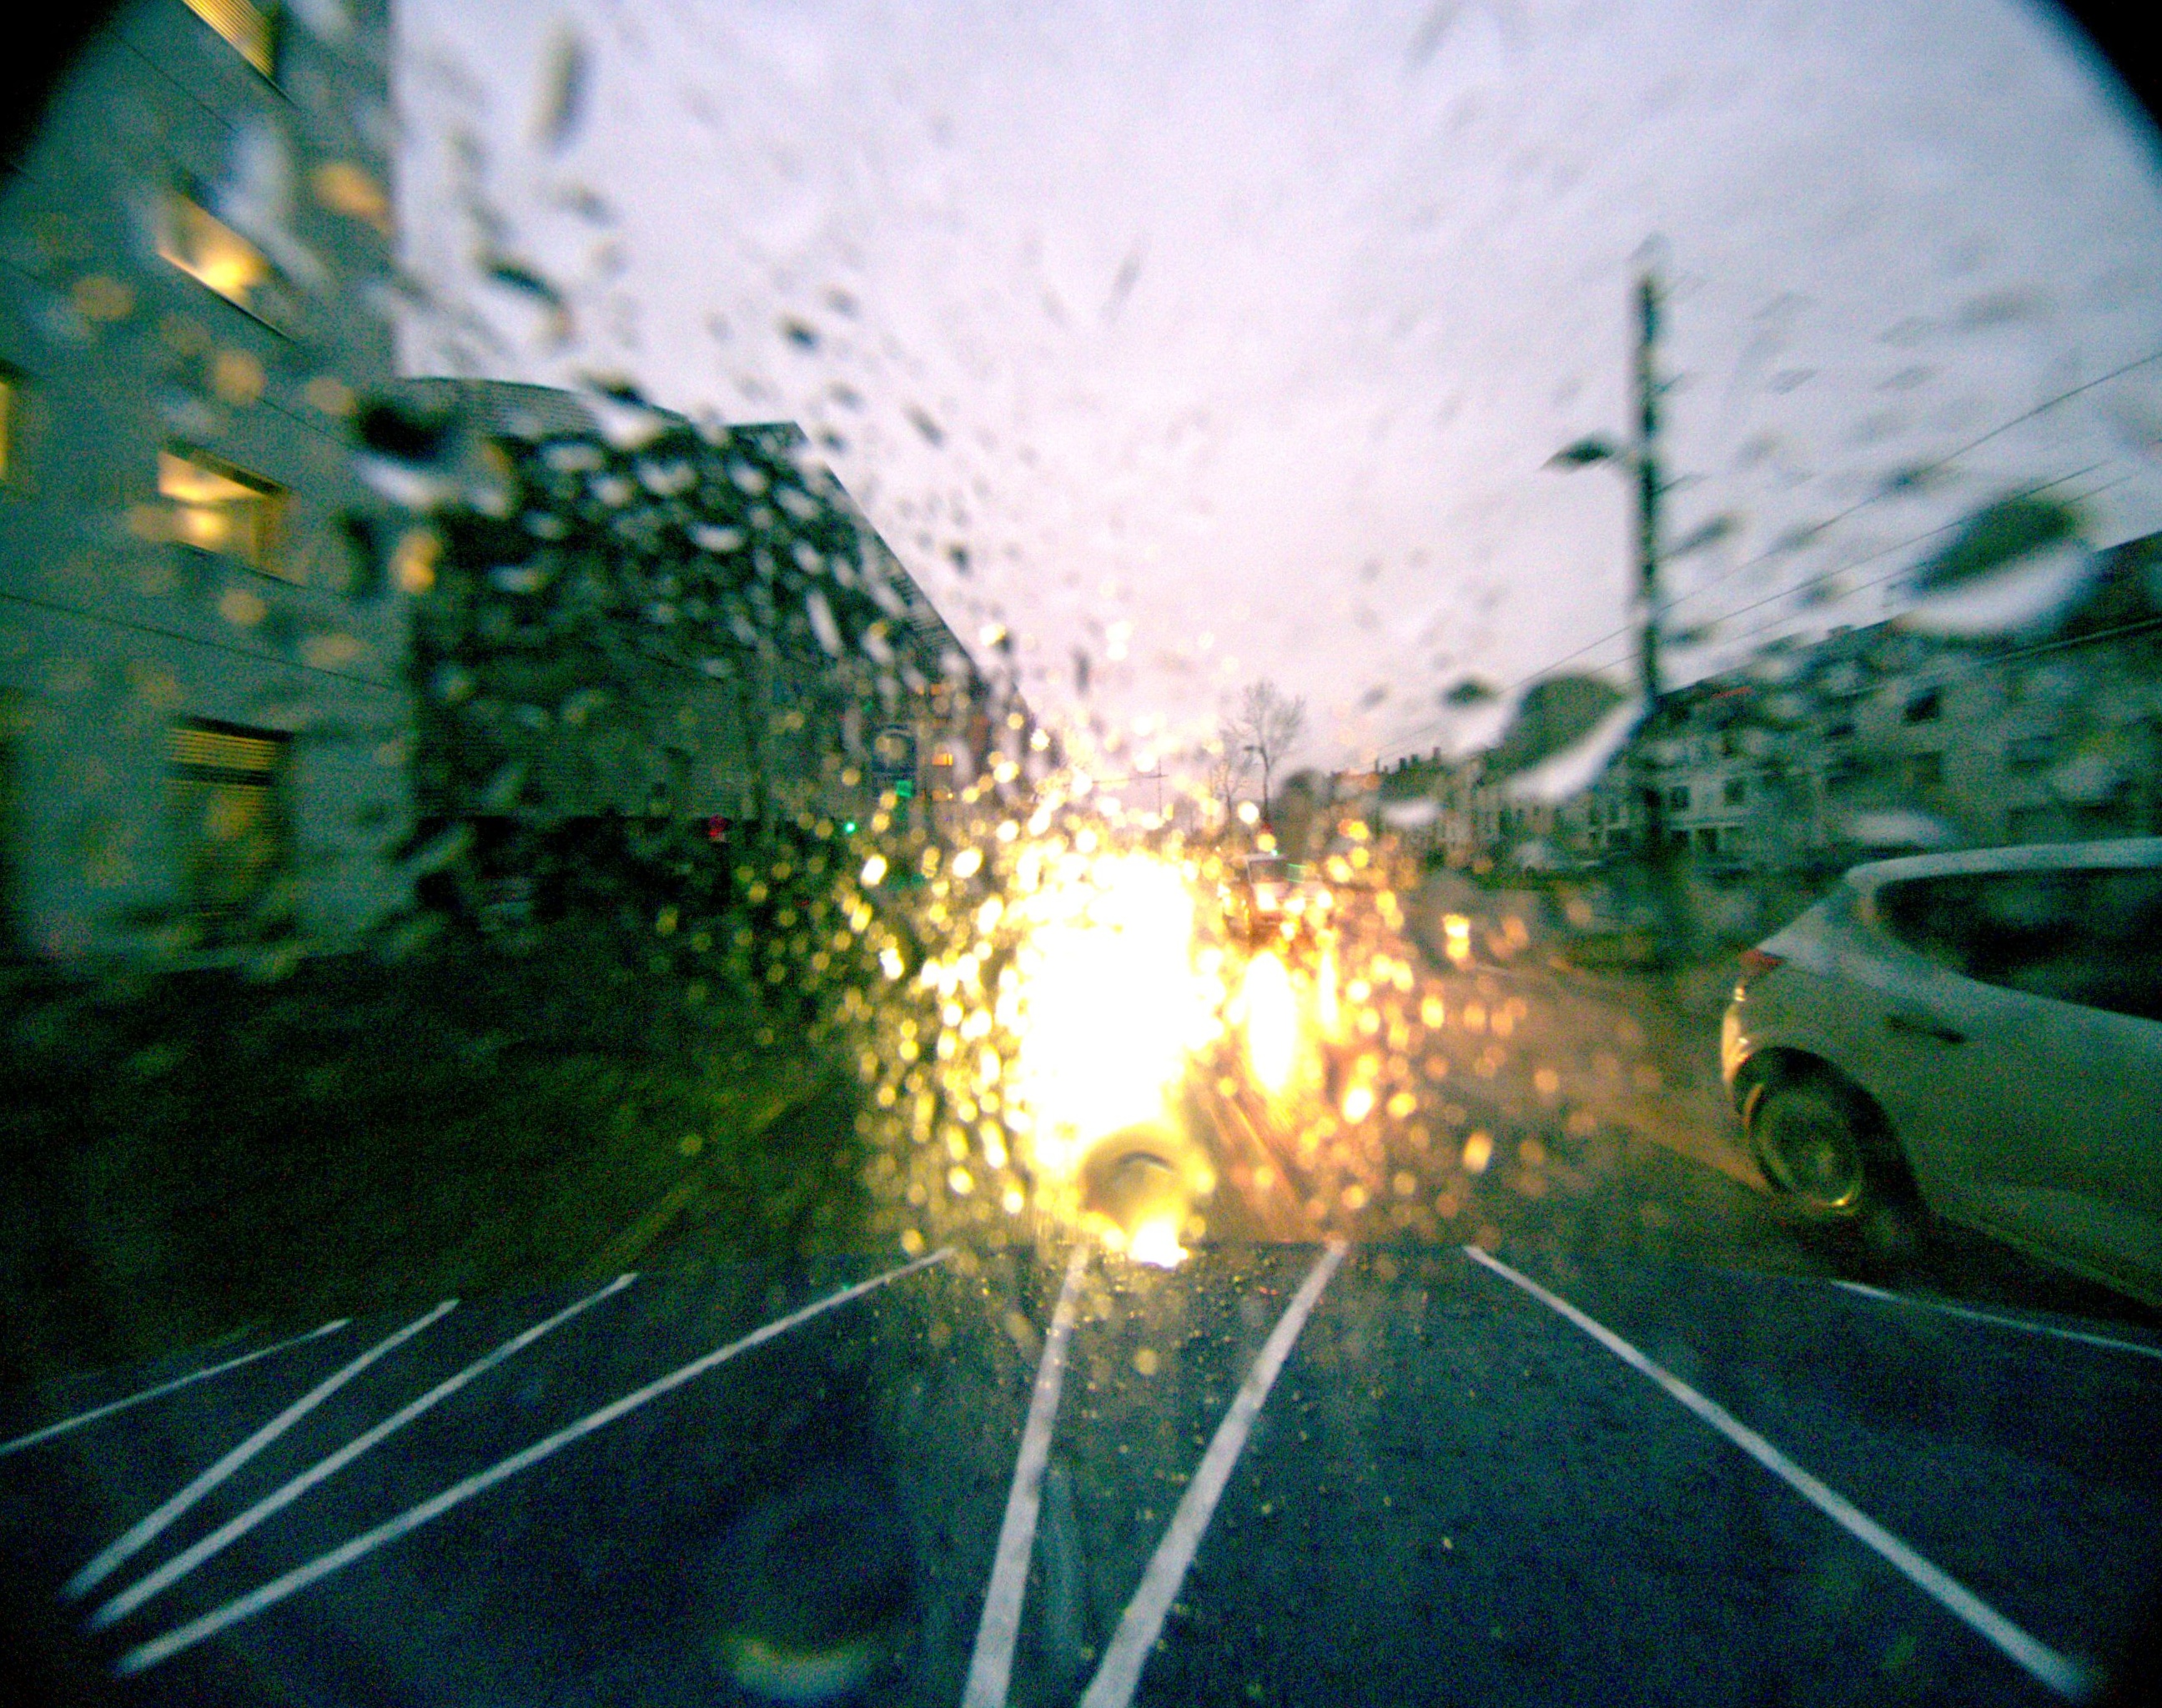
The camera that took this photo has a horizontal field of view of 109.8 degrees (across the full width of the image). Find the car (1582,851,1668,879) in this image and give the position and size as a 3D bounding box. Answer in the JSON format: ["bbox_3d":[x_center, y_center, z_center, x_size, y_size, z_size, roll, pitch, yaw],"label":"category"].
[{"bbox_3d":[31.804,0.639,44.469,4.002,1.496,1.316,-2,1,38],"label":"car"}]

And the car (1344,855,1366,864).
[{"bbox_3d":[36.995,0.750,102.633,2.626,1.100,1.255,-3,1,6],"label":"car"}]

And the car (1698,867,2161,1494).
[{"bbox_3d":[3.525,0.843,1.284,1.712,1.457,4.000,-3,1,1],"label":"car"}]

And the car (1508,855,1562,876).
[{"bbox_3d":[32.484,0.827,54.354,3.199,1.376,1.316,-2,-1,34],"label":"car"}]

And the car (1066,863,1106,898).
[{"bbox_3d":[0.294,1.273,37.966,1.763,1.520,3.735,-3,1,3],"label":"car"}]

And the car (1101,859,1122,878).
[{"bbox_3d":[2.465,1.153,61.563,1.595,1.428,3.805,-3,-1,2],"label":"car"}]

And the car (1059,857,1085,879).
[{"bbox_3d":[-0.693,1.118,61.733,1.609,1.666,3.686,-3,1,6],"label":"car"}]

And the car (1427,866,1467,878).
[{"bbox_3d":[33.736,1.680,70.018,3.100,1.000,1.189,-2,-1,37],"label":"car"}]

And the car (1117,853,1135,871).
[{"bbox_3d":[4.599,0.824,77.488,1.729,1.646,3.644,-3,1,2],"label":"car"}]

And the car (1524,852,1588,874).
[{"bbox_3d":[32.011,0.631,51.212,3.599,1.376,1.316,-2,-1,35],"label":"car"}]

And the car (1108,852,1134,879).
[{"bbox_3d":[2.864,0.810,53.673,1.729,1.730,4.055,-2,1,4],"label":"car"}]

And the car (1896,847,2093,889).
[{"bbox_3d":[30.536,0.481,25.594,3.989,1.248,1.447,-2,1,36],"label":"car"}]

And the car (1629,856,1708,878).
[{"bbox_3d":[31.638,0.693,40.981,3.305,1.124,1.316,-1,0,37],"label":"car"}]

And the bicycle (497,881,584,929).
[{"bbox_3d":[-12.657,1.188,17.792,1.863,1.084,0.856,-2,-3,26],"label":"bicycle"}]

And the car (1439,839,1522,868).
[{"bbox_3d":[33.513,-0.004,63.832,5.893,2.241,1.825,-2,1,36],"label":"car"}]

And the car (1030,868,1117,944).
[{"bbox_3d":[-0.092,1.122,17.812,1.757,1.418,3.804,-2,1,2],"label":"car"}]

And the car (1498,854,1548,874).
[{"bbox_3d":[33.143,0.754,56.999,3.100,1.376,1.316,-2,-1,37],"label":"car"}]

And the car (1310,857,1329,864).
[{"bbox_3d":[36.328,0.955,115.796,2.565,0.981,1.257,-2,1,33],"label":"car"}]

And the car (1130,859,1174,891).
[{"bbox_3d":[3.630,1.061,39.253,1.975,1.492,4.092,-3,-1,2],"label":"car"}]

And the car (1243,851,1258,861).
[{"bbox_3d":[32.923,0.374,147.626,1.998,2.002,4.000,-3,1,1],"label":"car"}]

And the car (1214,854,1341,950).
[{"bbox_3d":[3.995,0.901,16.106,2.020,1.667,4.001,-3,1,7],"label":"car"}]

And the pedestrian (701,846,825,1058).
[{"bbox_3d":[-2.859,0.844,6.893,0.772,1.798,0.699,3,1,0],"label":"pedestrian"}]

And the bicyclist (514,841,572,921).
[{"bbox_3d":[-12.562,0.627,17.743,0.730,1.811,0.842,-2,-2,26],"label":"bicyclist"}]

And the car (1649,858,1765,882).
[{"bbox_3d":[31.229,0.814,38.067,4.393,1.125,1.250,-1,1,37],"label":"car"}]

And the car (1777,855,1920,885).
[{"bbox_3d":[31.398,0.678,31.256,3.989,1.125,1.364,-2,1,38],"label":"car"}]

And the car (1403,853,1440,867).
[{"bbox_3d":[34.484,0.586,76.961,3.197,1.309,1.554,-2,1,33],"label":"car"}]
